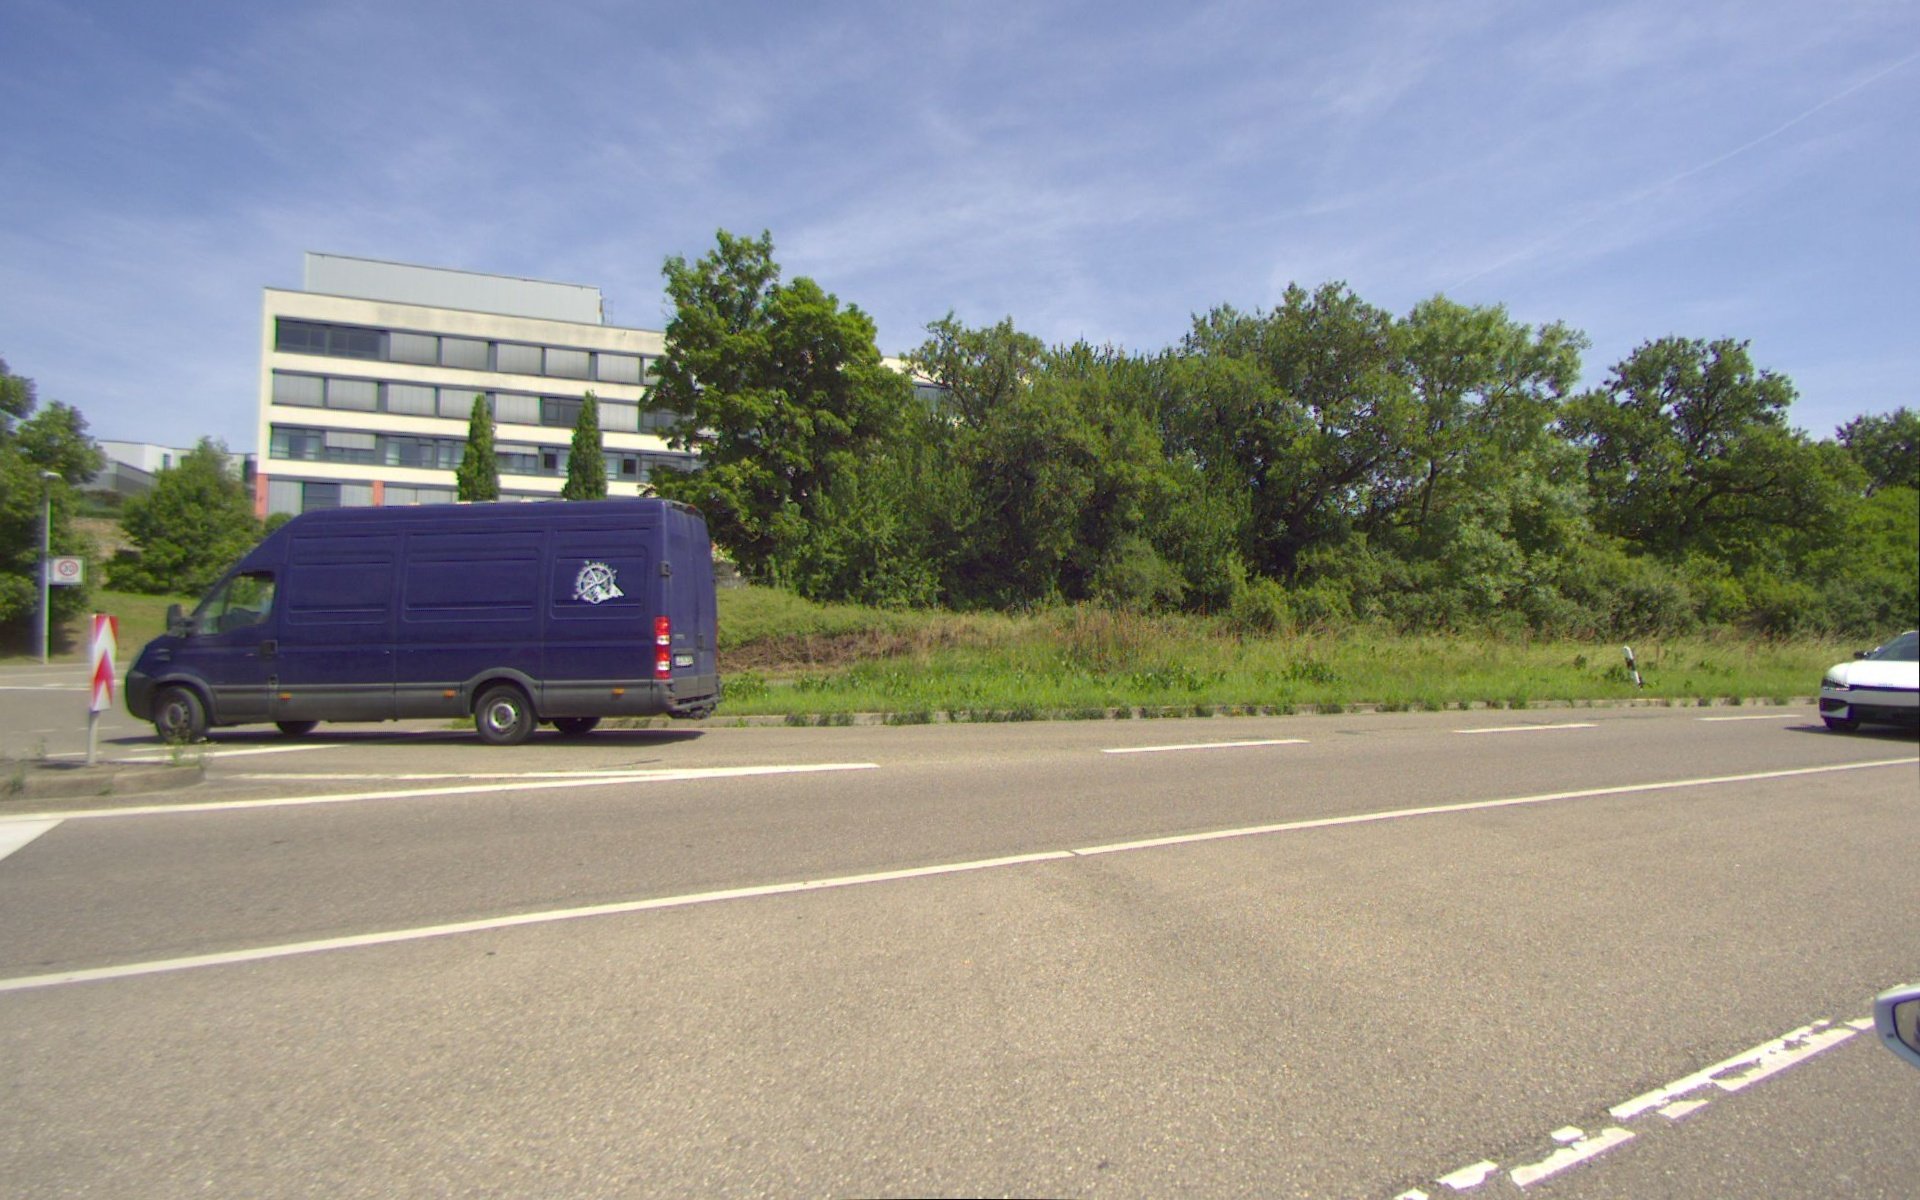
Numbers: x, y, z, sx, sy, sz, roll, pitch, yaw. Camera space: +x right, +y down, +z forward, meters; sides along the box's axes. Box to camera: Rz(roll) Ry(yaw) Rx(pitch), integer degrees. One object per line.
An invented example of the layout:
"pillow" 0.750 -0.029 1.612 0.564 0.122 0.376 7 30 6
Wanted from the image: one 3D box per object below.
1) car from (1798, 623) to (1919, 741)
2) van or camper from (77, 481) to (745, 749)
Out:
"car" 14.859 1.185 15.030 4.568 1.569 1.930 2 -1 -27
"van or camper" -6.464 0.179 12.390 7.101 2.953 2.248 0 0 3
